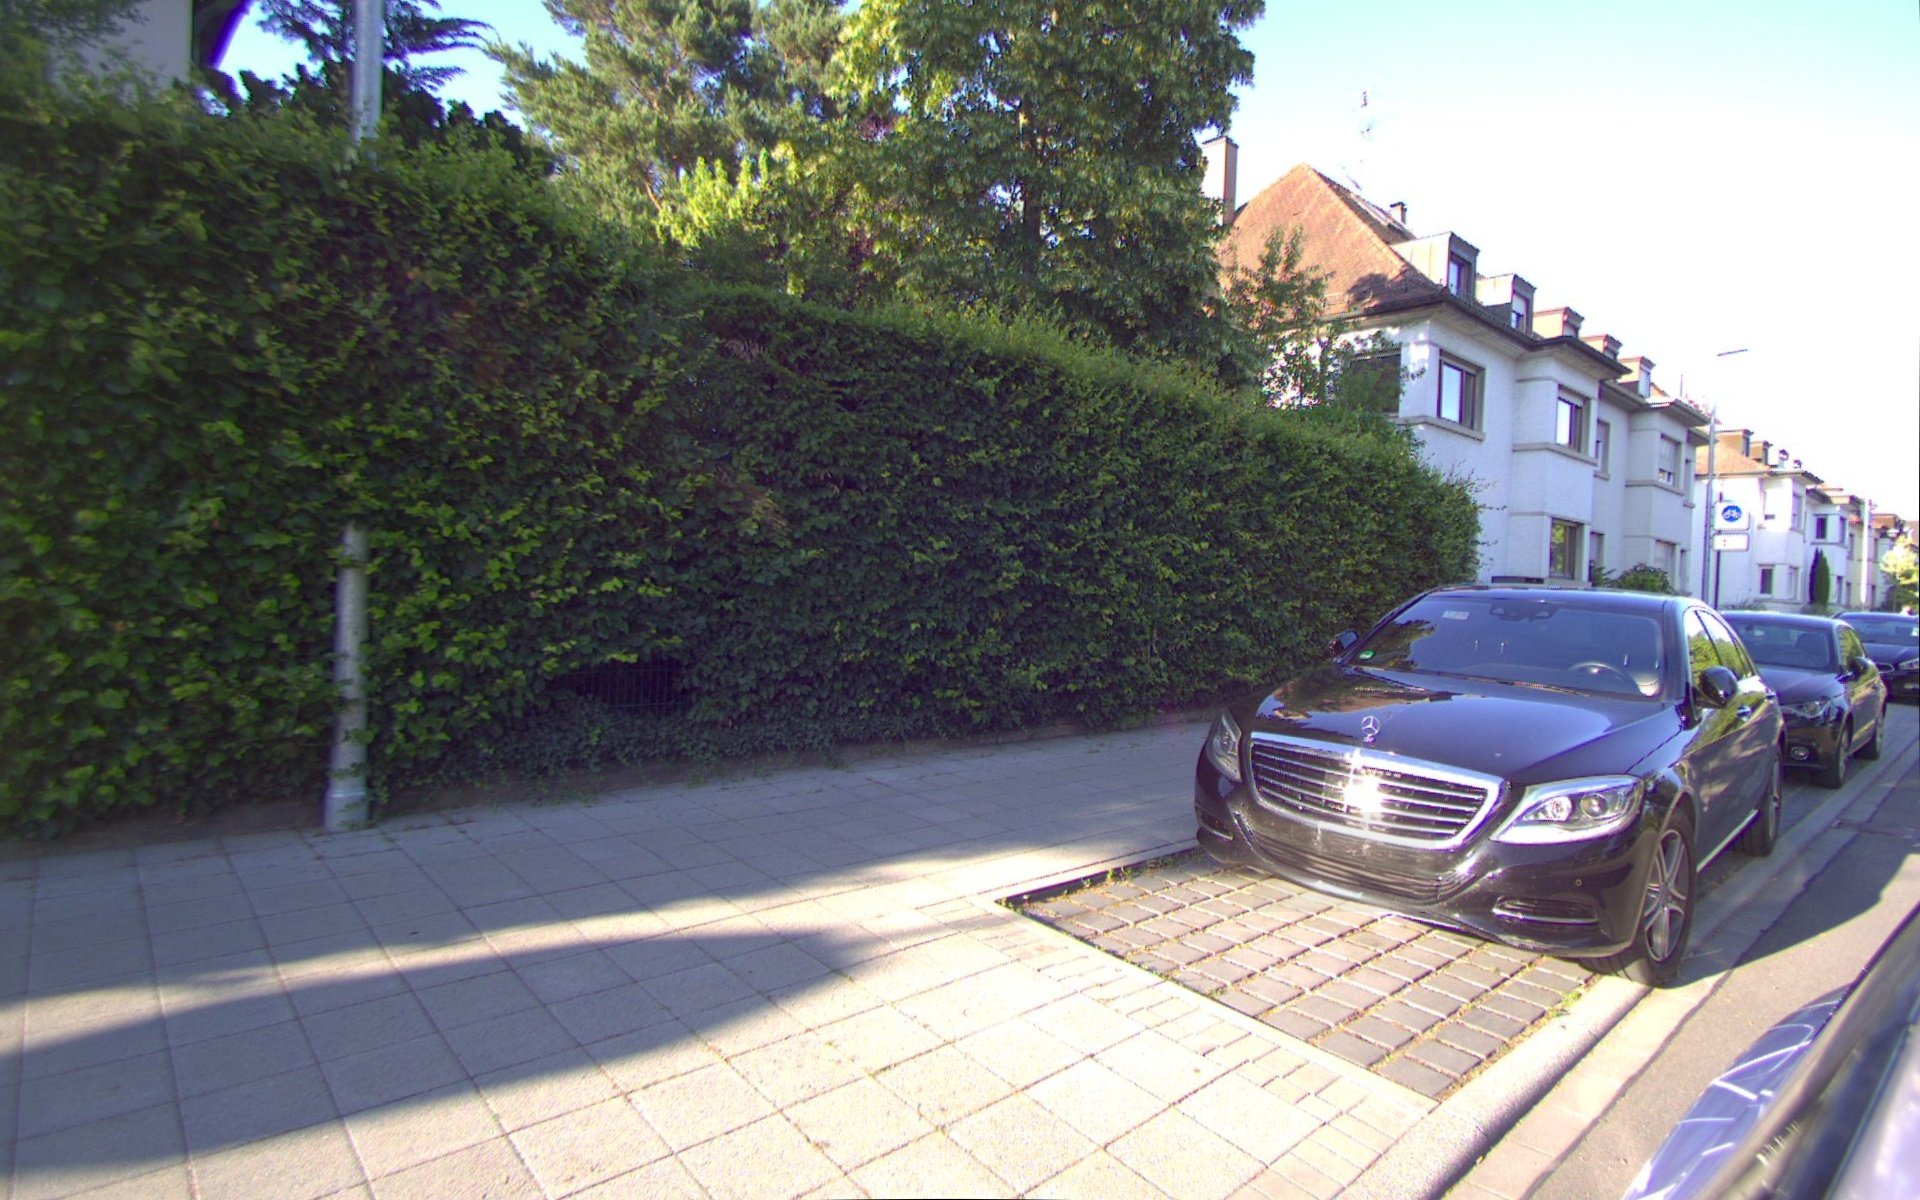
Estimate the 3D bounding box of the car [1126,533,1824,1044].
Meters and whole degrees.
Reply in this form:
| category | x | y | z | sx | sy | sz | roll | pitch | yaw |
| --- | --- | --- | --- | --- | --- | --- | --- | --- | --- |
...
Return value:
| category | x | y | z | sx | sy | sz | roll | pitch | yaw |
| --- | --- | --- | --- | --- | --- | --- | --- | --- | --- |
| car | 3.128 | 0.555 | 5.486 | 4.792 | 1.561 | 1.861 | 0 | 3 | -44 |

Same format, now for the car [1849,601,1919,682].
| category | x | y | z | sx | sy | sz | roll | pitch | yaw |
| --- | --- | --- | --- | --- | --- | --- | --- | --- | --- |
| car | 19.883 | 0.838 | 20.989 | 3.916 | 1.489 | 1.721 | 1 | 4 | -43 |

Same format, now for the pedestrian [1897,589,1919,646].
| category | x | y | z | sx | sy | sz | roll | pitch | yaw |
| --- | --- | --- | --- | --- | --- | --- | --- | --- | --- |
| pedestrian | 34.832 | 0.629 | 36.675 | 1.081 | 2.038 | 0.856 | 2 | 1 | 33 |

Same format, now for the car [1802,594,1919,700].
| category | x | y | z | sx | sy | sz | roll | pitch | yaw |
| --- | --- | --- | --- | --- | --- | --- | --- | --- | --- |
| car | 16.033 | 0.754 | 17.433 | 4.183 | 1.492 | 1.750 | 1 | 5 | -43 |

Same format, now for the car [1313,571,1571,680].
| category | x | y | z | sx | sy | sz | roll | pitch | yaw |
| --- | --- | --- | --- | --- | --- | --- | --- | --- | --- |
| car | 8.309 | 0.366 | 17.620 | 3.637 | 1.514 | 1.752 | 6 | 3 | 45 |

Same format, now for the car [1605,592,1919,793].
| category | x | y | z | sx | sy | sz | roll | pitch | yaw |
| --- | --- | --- | --- | --- | --- | --- | --- | --- | --- |
| car | 7.772 | 0.725 | 9.681 | 3.868 | 1.445 | 1.644 | 1 | 3 | -42 |
